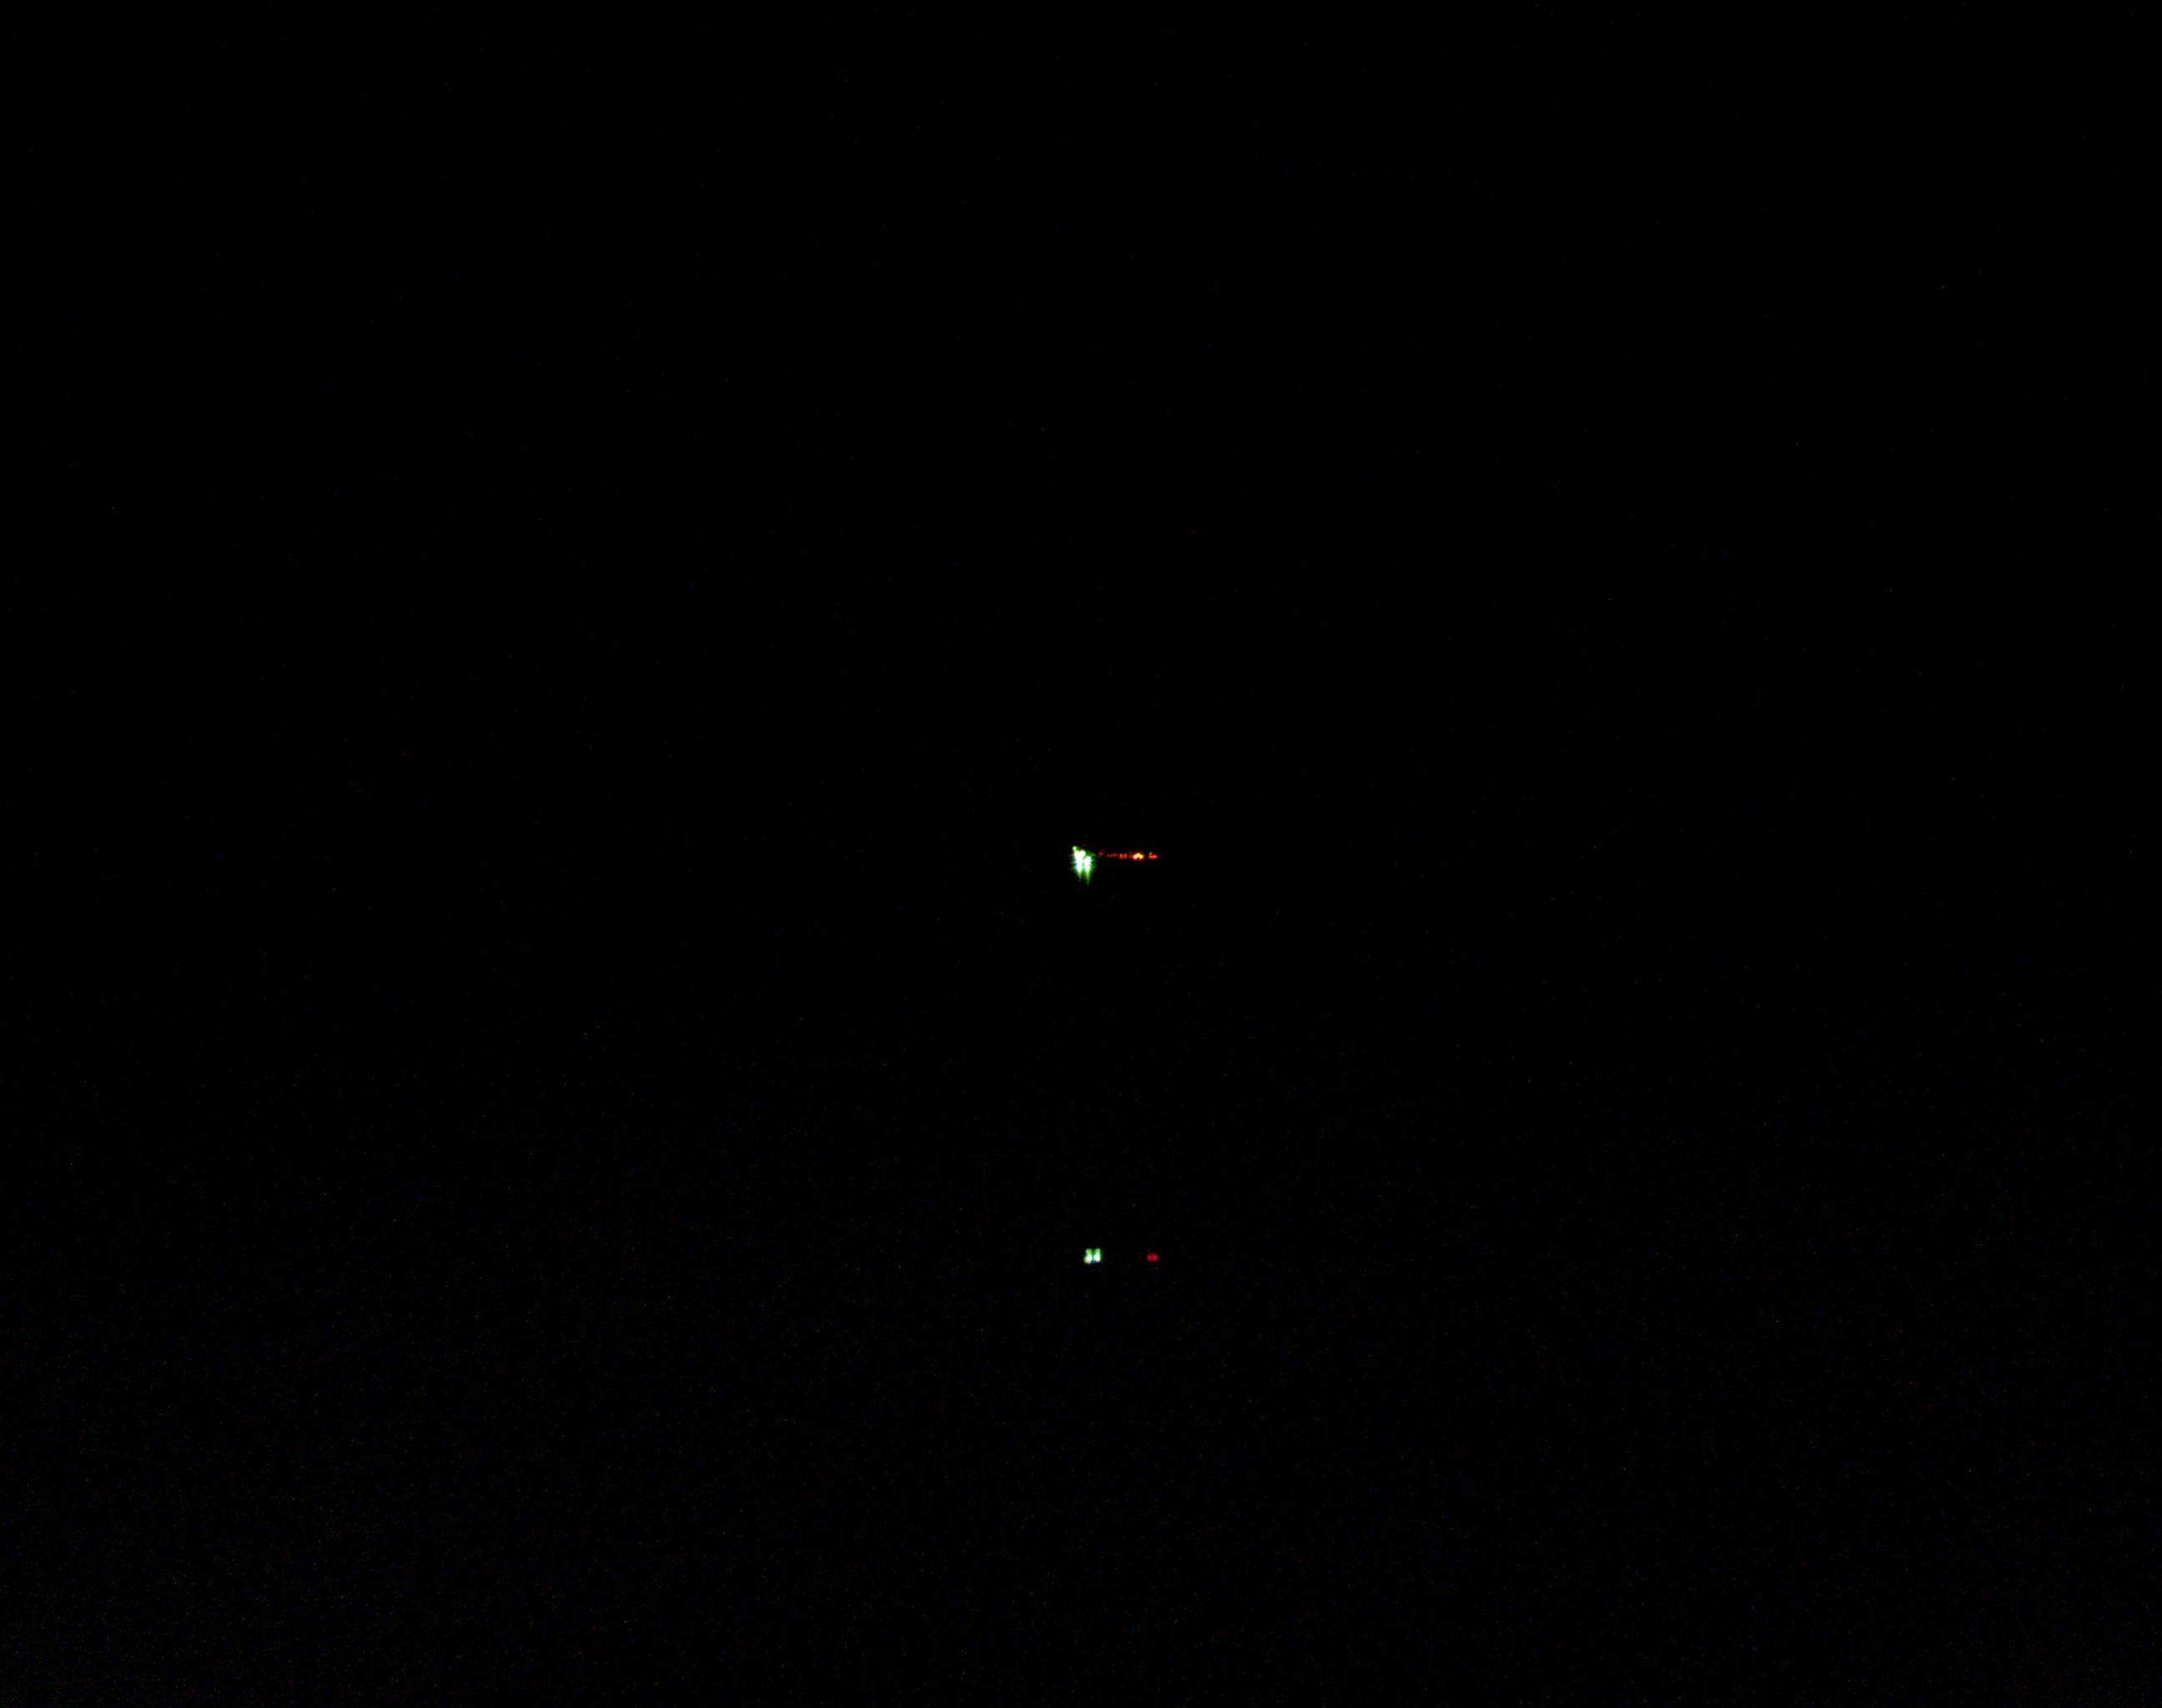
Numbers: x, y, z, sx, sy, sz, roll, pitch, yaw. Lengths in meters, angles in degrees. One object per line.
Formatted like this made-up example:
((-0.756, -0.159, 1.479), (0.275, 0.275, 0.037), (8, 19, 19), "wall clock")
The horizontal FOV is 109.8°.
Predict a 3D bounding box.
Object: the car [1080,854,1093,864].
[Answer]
((0.852, 0.827, 129.763), (2.154, 1.558, 4.580), (-2, 1, 0), "car")

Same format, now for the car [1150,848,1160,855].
((19.430, -0.678, 198.436), (2.154, 1.558, 3.999), (-2, 1, -1), "car")

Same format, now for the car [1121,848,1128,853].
((15.223, -1.189, 264.159), (2.154, 1.558, 3.999), (-2, 1, -1), "car")

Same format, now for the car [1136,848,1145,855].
((15.951, -0.700, 203.884), (1.998, 1.587, 4.000), (-2, 1, 1), "car")
